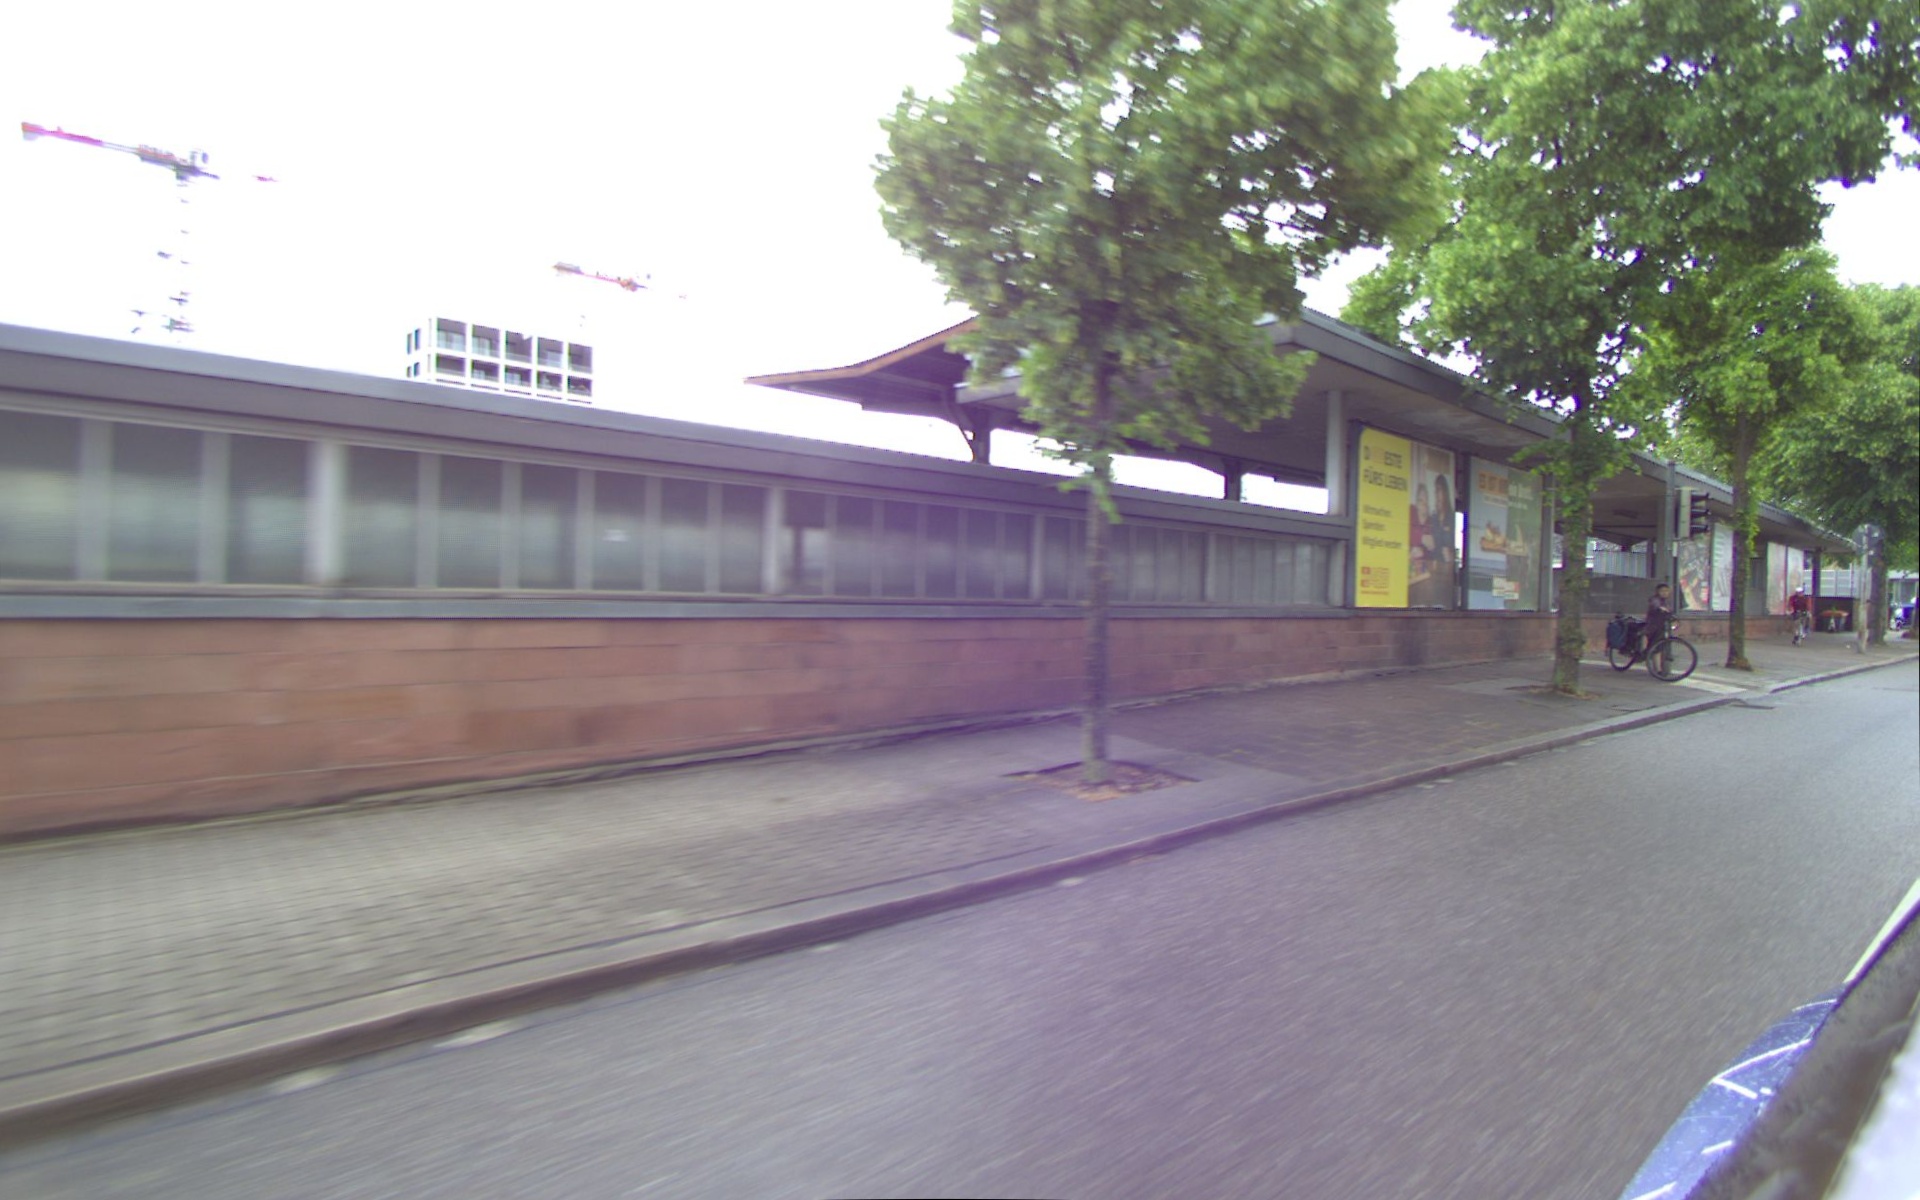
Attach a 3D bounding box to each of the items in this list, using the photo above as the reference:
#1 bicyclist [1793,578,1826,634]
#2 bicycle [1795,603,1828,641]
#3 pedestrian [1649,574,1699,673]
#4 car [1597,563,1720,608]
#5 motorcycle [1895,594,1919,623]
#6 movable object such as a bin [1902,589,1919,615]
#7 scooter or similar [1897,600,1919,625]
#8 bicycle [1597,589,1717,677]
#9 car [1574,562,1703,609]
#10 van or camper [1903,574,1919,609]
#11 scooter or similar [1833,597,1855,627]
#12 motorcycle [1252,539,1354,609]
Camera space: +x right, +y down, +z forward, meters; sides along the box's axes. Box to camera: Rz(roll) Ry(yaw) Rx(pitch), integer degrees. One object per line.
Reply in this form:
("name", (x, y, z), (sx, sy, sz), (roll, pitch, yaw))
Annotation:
("bicyclist", (24.205, 0.162, 28.837), (0.683, 1.556, 0.534), (0, 4, -43))
("bicycle", (24.248, 0.614, 28.810), (1.649, 1.028, 0.447), (0, 5, -43))
("pedestrian", (11.830, 0.381, 16.779), (0.385, 1.587, 0.459), (2, 2, -6))
("car", (27.545, -0.597, 39.986), (1.714, 1.561, 3.571), (1, 3, -35))
("motorcycle", (47.366, 0.399, 50.515), (2.416, 1.364, 0.792), (0, 2, -43))
("movable object such as a bin", (52.267, 0.119, 55.267), (1.295, 1.354, 1.035), (0, 2, -43))
("scooter or similar", (45.913, 0.589, 48.904), (0.490, 1.167, 1.698), (2, 2, 29))
("bicycle", (11.437, 0.515, 16.678), (0.476, 1.264, 1.729), (2, 3, -9))
("car", (25.500, -0.585, 38.101), (1.717, 1.561, 3.689), (0, 3, -42))
("van or camper", (81.919, -0.577, 82.767), (6.449, 2.904, 2.266), (3, 2, 20))
("scooter or similar", (35.924, 0.464, 41.137), (1.519, 1.167, 0.493), (0, 3, -43))
("motorcycle", (8.370, -0.653, 24.798), (0.681, 1.630, 2.346), (0, 2, -40))
